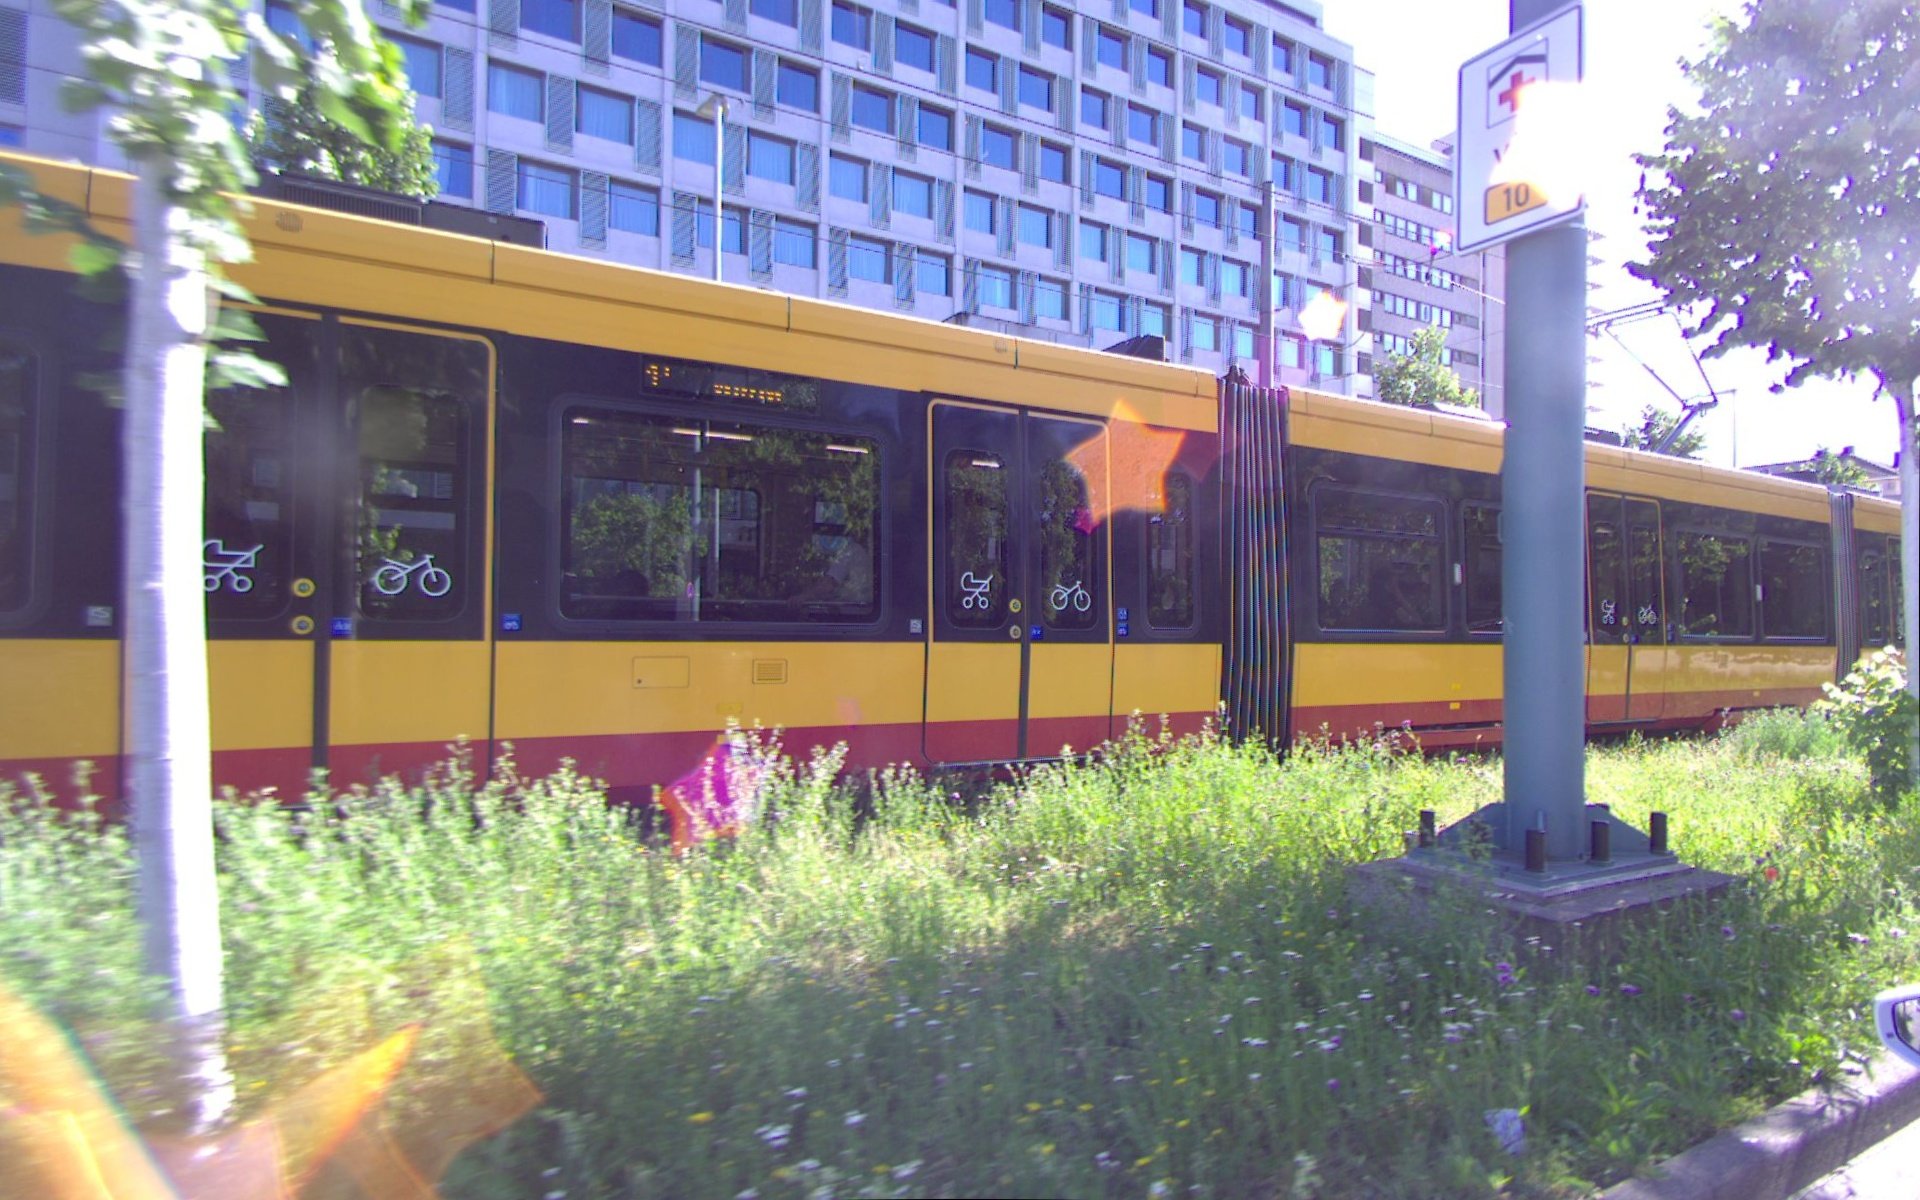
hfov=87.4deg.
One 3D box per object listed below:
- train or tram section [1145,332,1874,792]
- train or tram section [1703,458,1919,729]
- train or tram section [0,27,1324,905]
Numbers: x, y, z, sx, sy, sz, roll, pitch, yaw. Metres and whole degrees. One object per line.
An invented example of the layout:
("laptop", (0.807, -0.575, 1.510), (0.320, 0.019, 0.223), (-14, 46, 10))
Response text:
("train or tram section", (7.171, -0.141, 11.803), (11.183, 3.718, 1.984), (2, -1, -30))
("train or tram section", (16.982, 0.077, 17.500), (11.544, 3.718, 1.984), (2, -1, -30))
("train or tram section", (-3.582, -0.534, 5.681), (13.983, 3.718, 1.984), (2, -1, -30))
